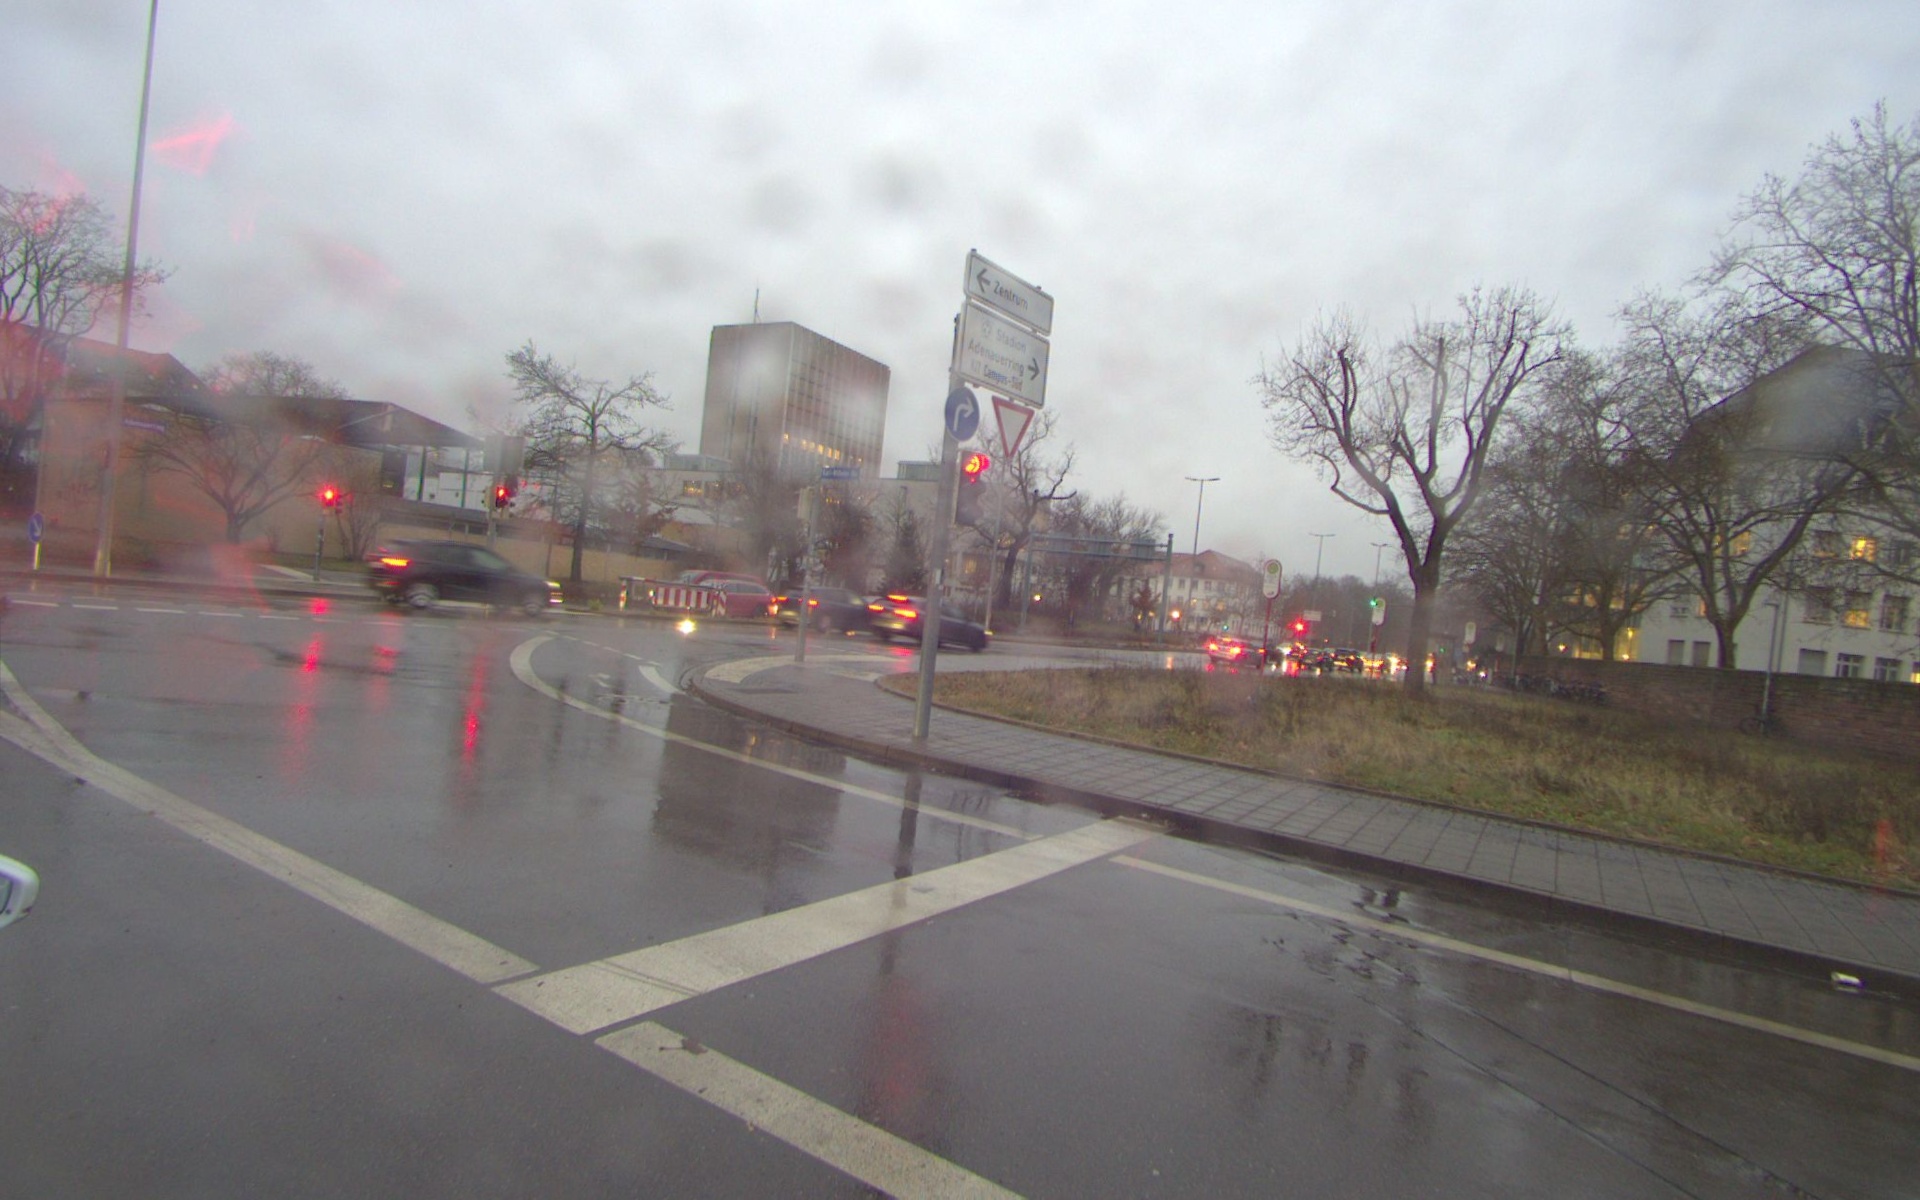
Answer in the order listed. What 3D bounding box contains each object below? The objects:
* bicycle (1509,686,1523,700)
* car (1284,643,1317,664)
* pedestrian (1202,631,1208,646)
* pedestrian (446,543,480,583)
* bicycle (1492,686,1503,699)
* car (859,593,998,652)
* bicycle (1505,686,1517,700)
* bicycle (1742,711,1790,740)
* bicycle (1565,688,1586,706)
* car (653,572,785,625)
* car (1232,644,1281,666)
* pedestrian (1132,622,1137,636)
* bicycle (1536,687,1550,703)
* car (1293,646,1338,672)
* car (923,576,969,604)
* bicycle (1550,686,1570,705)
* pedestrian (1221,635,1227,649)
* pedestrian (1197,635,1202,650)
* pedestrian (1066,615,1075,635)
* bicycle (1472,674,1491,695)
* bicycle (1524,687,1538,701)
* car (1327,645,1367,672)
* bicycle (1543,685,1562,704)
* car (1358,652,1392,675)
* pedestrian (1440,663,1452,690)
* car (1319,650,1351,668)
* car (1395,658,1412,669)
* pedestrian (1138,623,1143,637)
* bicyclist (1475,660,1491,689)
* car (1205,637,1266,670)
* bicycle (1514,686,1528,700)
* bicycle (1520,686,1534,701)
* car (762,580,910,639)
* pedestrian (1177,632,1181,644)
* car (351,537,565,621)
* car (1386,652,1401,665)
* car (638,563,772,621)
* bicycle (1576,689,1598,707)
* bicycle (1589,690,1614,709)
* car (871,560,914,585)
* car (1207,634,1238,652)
[{"bbox_3d":[34.351,5.741,62.154,0.387,0.795,1.532,7,-2,20],"label":"bicycle"},{"bbox_3d":[30.146,4.730,88.965,1.811,1.602,4.127,6,0,31],"label":"car"},{"bbox_3d":[28.316,4.469,116.282,0.404,1.713,0.427,7,2,28],"label":"pedestrian"},{"bbox_3d":[-21.725,-1.605,43.953,0.783,1.624,0.960,8,2,39],"label":"pedestrian"},{"bbox_3d":[36.392,6.246,68.109,0.387,0.795,1.532,7,-2,20],"label":"bicycle"},{"bbox_3d":[-0.919,0.743,31.991,1.785,1.496,4.573,6,0,39],"label":"car"},{"bbox_3d":[34.852,5.865,63.628,0.387,0.795,1.532,7,-2,20],"label":"bicycle"},{"bbox_3d":[28.203,4.398,35.228,0.387,0.834,1.386,7,-2,-4],"label":"bicycle"},{"bbox_3d":[31.039,4.875,50.746,0.343,0.848,1.493,7,-2,13],"label":"bicycle"},{"bbox_3d":[-8.621,-0.029,36.334,1.784,1.496,4.411,6,0,37],"label":"car"},{"bbox_3d":[20.766,3.858,70.323,1.907,1.318,4.686,6,0,33],"label":"car"},{"bbox_3d":[17.296,2.912,99.606,0.258,1.364,0.289,8,2,31],"label":"pedestrian"},{"bbox_3d":[32.414,5.289,55.955,0.387,0.795,1.607,7,-2,22],"label":"bicycle"},{"bbox_3d":[25.314,4.234,71.577,1.812,1.602,4.124,6,0,35],"label":"car"},{"bbox_3d":[-1.422,-0.996,103.164,2.014,2.452,5.326,6,0,30],"label":"car"},{"bbox_3d":[31.358,4.979,52.558,0.387,0.868,1.532,7,-2,15],"label":"bicycle"},{"bbox_3d":[32.972,5.253,125.670,0.404,1.713,0.561,7,2,28],"label":"pedestrian"},{"bbox_3d":[28.879,5.127,121.273,0.404,1.713,0.427,7,2,28],"label":"pedestrian"},{"bbox_3d":[9.844,2.237,89.878,0.411,1.725,0.430,8,3,44],"label":"pedestrian"},{"bbox_3d":[30.727,4.975,59.290,0.599,1.181,1.682,7,-2,19],"label":"bicycle"},{"bbox_3d":[32.842,5.403,57.868,0.387,0.795,1.532,7,-2,19],"label":"bicycle"},{"bbox_3d":[30.044,4.550,77.978,1.812,1.710,4.311,6,-1,34],"label":"car"},{"bbox_3d":[31.843,5.073,54.089,0.387,0.927,1.532,7,-2,15],"label":"bicycle"},{"bbox_3d":[35.153,5.385,85.149,1.811,1.710,4.311,6,0,32],"label":"car"},{"bbox_3d":[30.153,4.732,62.420,0.462,1.623,0.486,7,-1,25],"label":"pedestrian"},{"bbox_3d":[32.180,5.069,86.295,1.674,1.318,3.757,6,0,33],"label":"car"},{"bbox_3d":[61.939,8.813,140.440,1.620,1.346,3.671,7,1,31],"label":"car"},{"bbox_3d":[17.844,2.982,99.540,0.258,1.364,0.289,8,2,31],"label":"pedestrian"},{"bbox_3d":[30.806,4.386,59.303,0.599,1.660,0.453,7,-1,19],"label":"bicyclist"},{"bbox_3d":[15.378,2.997,56.019,1.907,1.571,4.687,6,0,32],"label":"car"},{"bbox_3d":[33.830,5.613,60.665,0.387,0.795,1.532,7,-2,20],"label":"bicycle"},{"bbox_3d":[33.324,5.486,59.147,0.387,0.795,1.532,7,-2,20],"label":"bicycle"},{"bbox_3d":[-3.937,0.342,32.559,1.787,1.496,4.566,6,0,43],"label":"car"},{"bbox_3d":[25.410,4.457,116.603,0.258,1.364,0.289,8,2,31],"label":"pedestrian"},{"bbox_3d":[-11.455,-0.447,23.168,1.784,1.496,3.951,6,0,38],"label":"car"},{"bbox_3d":[69.834,9.384,161.976,1.834,1.783,3.993,7,1,27],"label":"car"},{"bbox_3d":[-10.556,-0.300,42.030,2.016,1.903,5.320,6,0,35],"label":"car"},{"bbox_3d":[30.550,4.768,49.002,0.387,0.795,1.533,7,-2,14],"label":"bicycle"},{"bbox_3d":[30.276,4.671,47.478,0.352,0.795,1.415,7,-2,8],"label":"bicycle"},{"bbox_3d":[-7.081,-2.910,106.496,2.014,2.102,4.892,6,0,30],"label":"car"},{"bbox_3d":[26.989,4.396,103.305,1.811,1.602,4.127,6,0,31],"label":"car"}]
